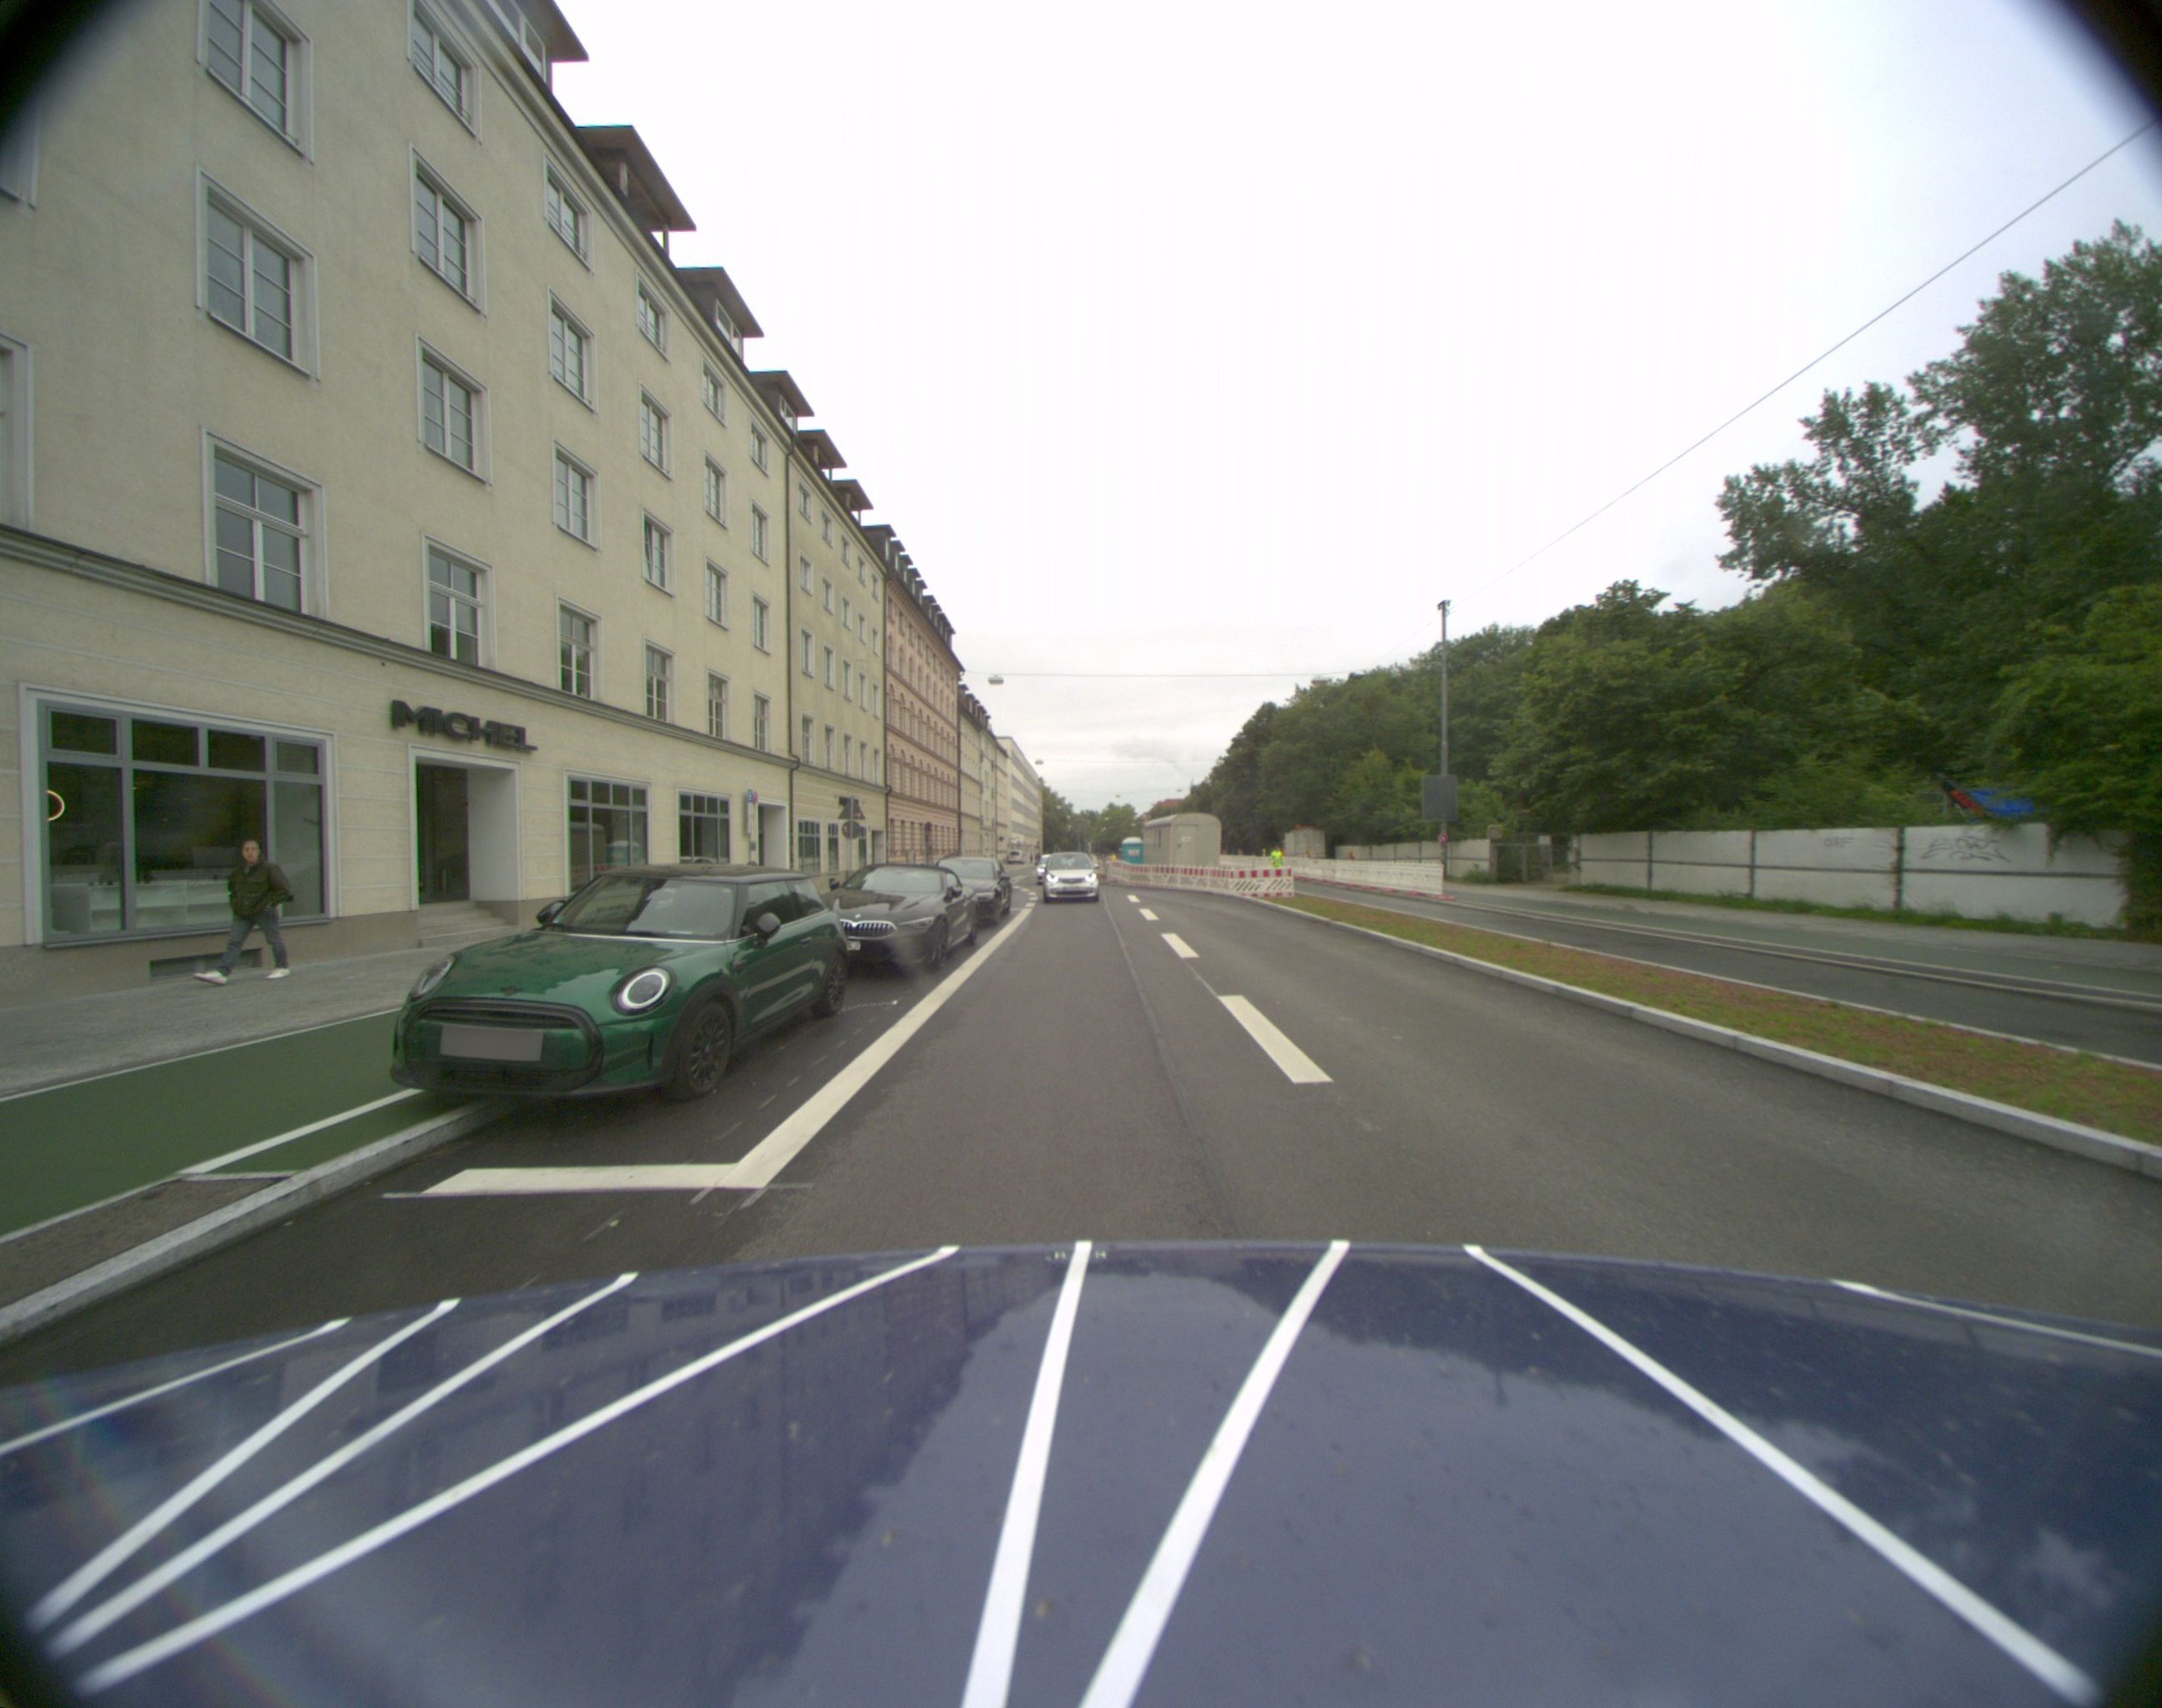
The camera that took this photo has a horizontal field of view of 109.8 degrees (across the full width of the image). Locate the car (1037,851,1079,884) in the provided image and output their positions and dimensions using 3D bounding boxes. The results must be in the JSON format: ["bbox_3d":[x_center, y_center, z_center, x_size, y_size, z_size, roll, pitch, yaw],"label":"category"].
[{"bbox_3d":[-1.071,0.611,37.755,1.813,1.472,4.462,-2,0,1],"label":"car"}]

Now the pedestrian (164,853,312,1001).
[{"bbox_3d":[-10.044,0.836,9.088,0.780,1.679,0.861,0,1,1],"label":"pedestrian"}]

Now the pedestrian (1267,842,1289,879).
[{"bbox_3d":[10.288,0.324,39.766,0.890,1.930,0.875,0,1,-2],"label":"pedestrian"}]

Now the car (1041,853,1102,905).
[{"bbox_3d":[-0.358,0.738,24.568,1.759,1.461,3.999,-2,1,-2],"label":"car"}]

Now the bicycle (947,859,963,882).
[{"bbox_3d":[-6.054,0.765,36.471,0.632,1.031,2.016,0,1,-6],"label":"bicycle"}]

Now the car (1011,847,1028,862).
[{"bbox_3d":[-7.976,0.067,98.762,1.766,1.821,3.999,-1,1,0],"label":"car"}]

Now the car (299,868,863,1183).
[{"bbox_3d":[-3.164,0.939,5.881,1.679,1.512,3.829,-2,1,2],"label":"car"}]

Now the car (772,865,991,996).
[{"bbox_3d":[-2.648,0.937,11.351,1.830,1.399,4.720,-2,0,2],"label":"car"}]

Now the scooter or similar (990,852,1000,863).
[{"bbox_3d":[-9.335,0.424,82.475,1.079,1.185,0.436,-1,1,-39],"label":"scooter or similar"}]

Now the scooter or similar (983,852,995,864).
[{"bbox_3d":[-9.261,0.421,76.422,0.552,1.238,1.079,0,1,35],"label":"scooter or similar"}]

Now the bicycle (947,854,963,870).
[{"bbox_3d":[-9.530,0.630,57.483,0.556,1.170,1.727,0,1,15],"label":"bicycle"}]

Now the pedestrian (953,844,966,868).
[{"bbox_3d":[-8.878,0.155,55.436,0.795,1.735,0.833,0,1,1],"label":"pedestrian"}]

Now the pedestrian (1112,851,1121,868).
[{"bbox_3d":[3.924,0.613,83.769,0.860,1.826,0.874,0,1,-6],"label":"pedestrian"}]

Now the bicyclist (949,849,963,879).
[{"bbox_3d":[-5.987,0.474,36.490,0.632,1.459,0.652,0,1,-6],"label":"bicyclist"}]

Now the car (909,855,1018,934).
[{"bbox_3d":[-2.564,0.831,17.644,1.813,1.472,4.461,3,0,-1],"label":"car"}]

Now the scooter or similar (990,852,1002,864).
[{"bbox_3d":[-9.081,0.419,81.137,1.078,1.185,0.453,-1,1,-29],"label":"scooter or similar"}]

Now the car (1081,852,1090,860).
[{"bbox_3d":[0.932,0.348,152.617,1.759,1.461,3.999,-2,1,-1],"label":"car"}]
